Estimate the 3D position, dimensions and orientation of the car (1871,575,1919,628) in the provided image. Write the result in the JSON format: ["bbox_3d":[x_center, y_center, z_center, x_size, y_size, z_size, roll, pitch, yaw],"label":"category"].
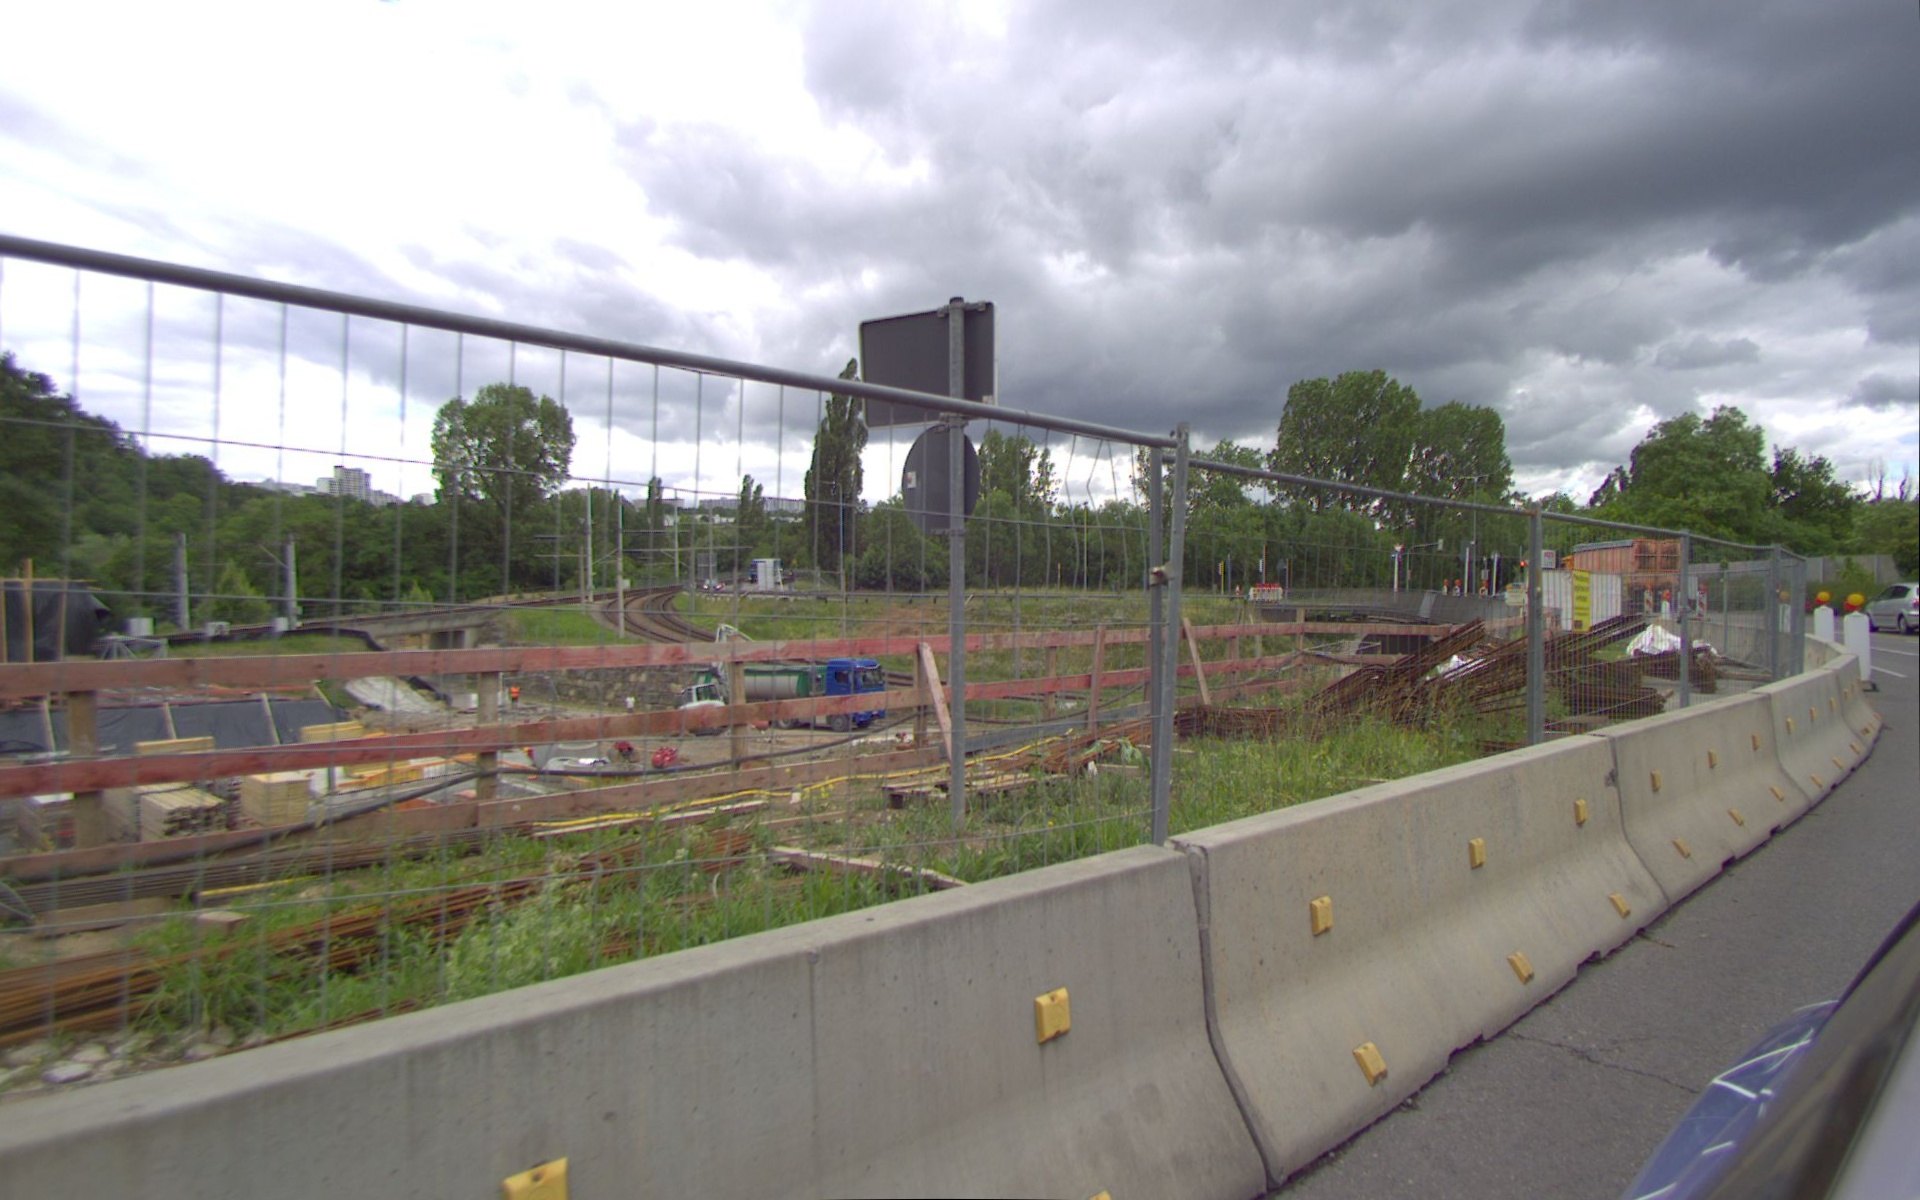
[{"bbox_3d":[30.061,0.006,31.212,1.876,1.583,4.062,-1,0,27],"label":"car"}]

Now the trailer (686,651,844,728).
[{"bbox_3d":[-10.783,4.758,55.492,9.057,3.810,2.395,-1,0,29],"label":"trailer"}]

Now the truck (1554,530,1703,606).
[{"bbox_3d":[37.715,-1.718,57.646,2.990,3.947,9.981,-1,1,8],"label":"truck"}]

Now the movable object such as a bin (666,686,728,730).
[{"bbox_3d":[-13.297,5.417,51.174,2.401,1.851,1.997,-1,1,-41],"label":"movable object such as a bin"}]

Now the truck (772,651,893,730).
[{"bbox_3d":[-6.733,4.655,53.244,6.075,3.810,2.395,-2,0,29],"label":"truck"}]
